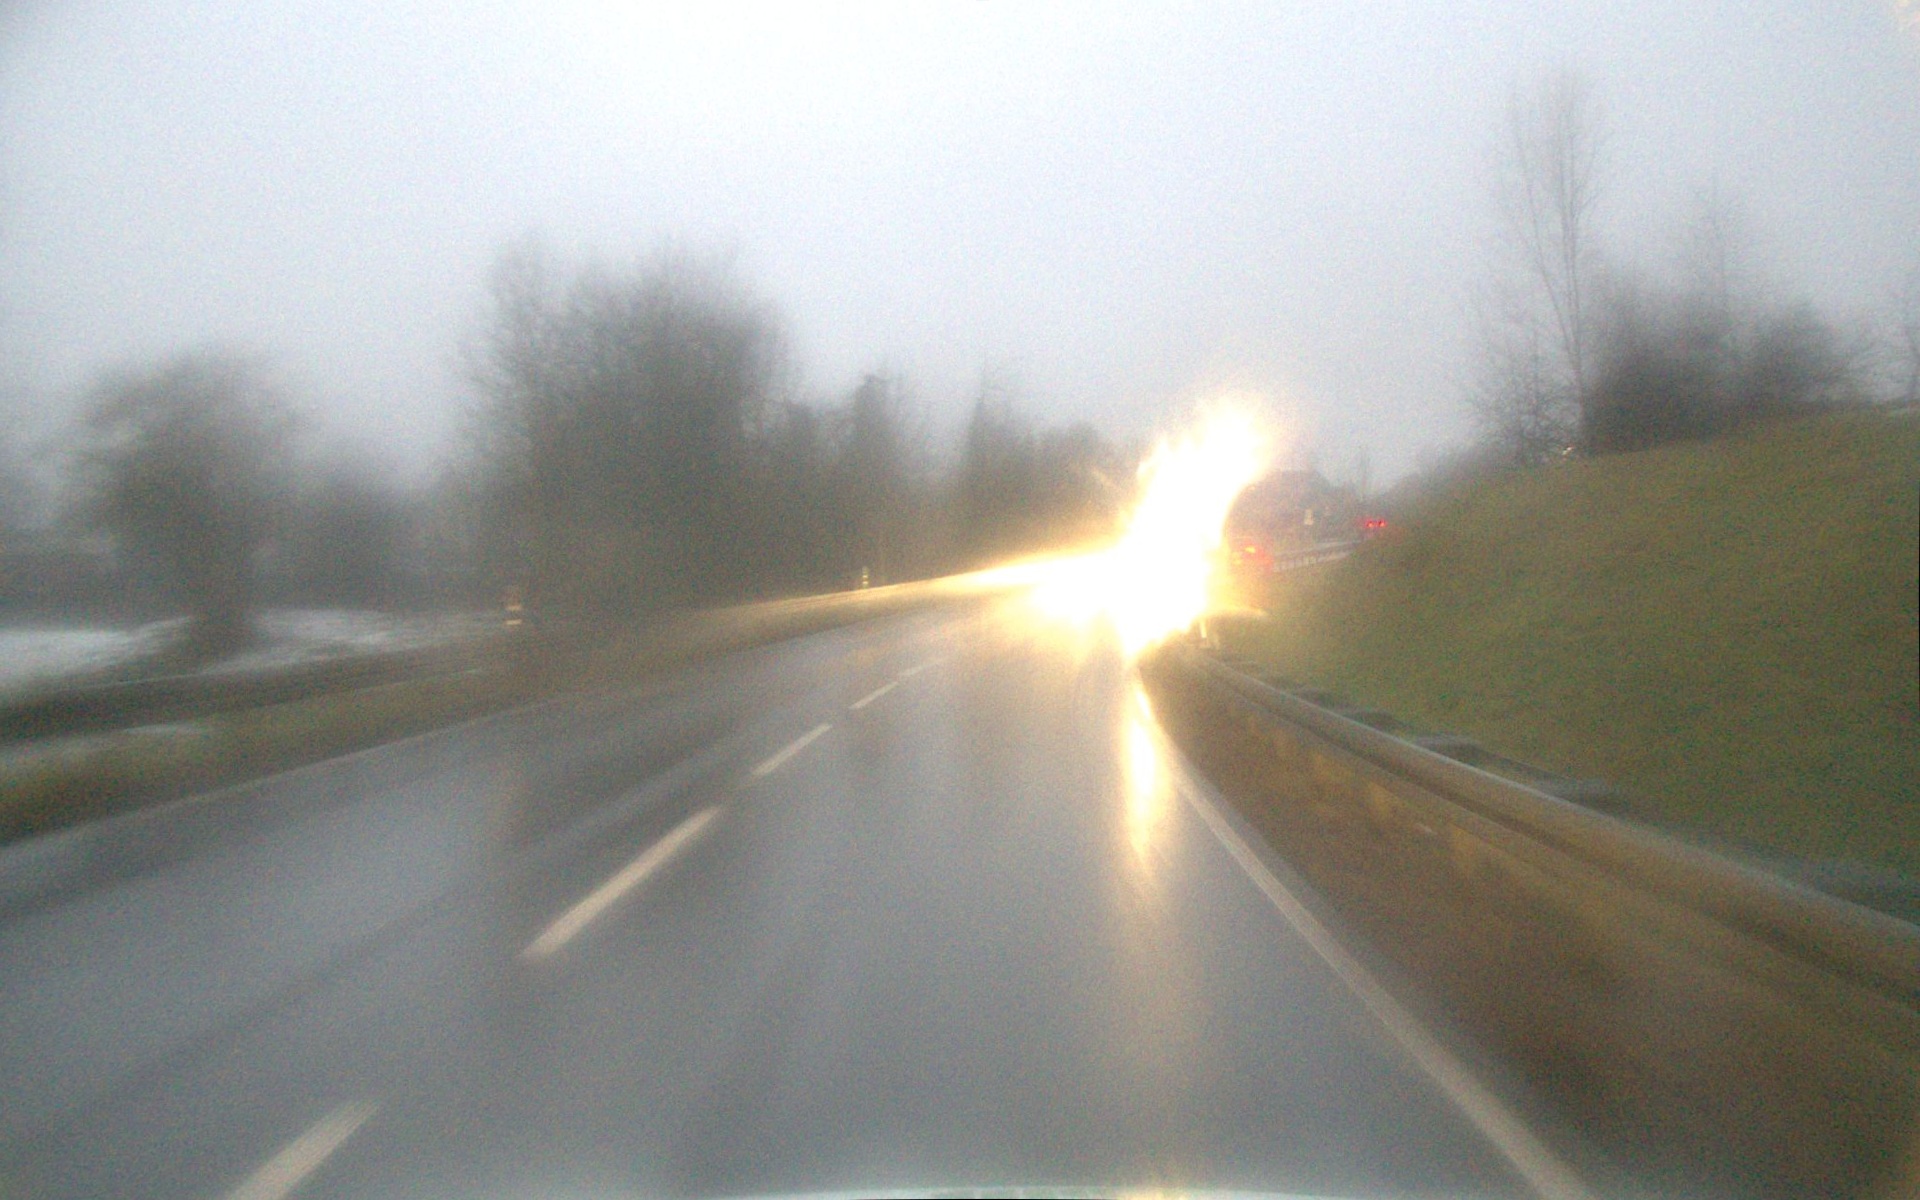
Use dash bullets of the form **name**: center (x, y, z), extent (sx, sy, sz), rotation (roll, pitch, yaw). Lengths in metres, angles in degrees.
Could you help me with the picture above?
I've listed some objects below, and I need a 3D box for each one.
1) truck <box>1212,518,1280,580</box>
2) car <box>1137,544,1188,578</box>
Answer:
- **truck**: center (14.406, -2.622, 82.928), extent (2.478, 2.918, 5.927), rotation (-2, 2, 18)
- **car**: center (10.546, -2.019, 85.821), extent (1.951, 1.649, 4.602), rotation (3, 2, 14)
